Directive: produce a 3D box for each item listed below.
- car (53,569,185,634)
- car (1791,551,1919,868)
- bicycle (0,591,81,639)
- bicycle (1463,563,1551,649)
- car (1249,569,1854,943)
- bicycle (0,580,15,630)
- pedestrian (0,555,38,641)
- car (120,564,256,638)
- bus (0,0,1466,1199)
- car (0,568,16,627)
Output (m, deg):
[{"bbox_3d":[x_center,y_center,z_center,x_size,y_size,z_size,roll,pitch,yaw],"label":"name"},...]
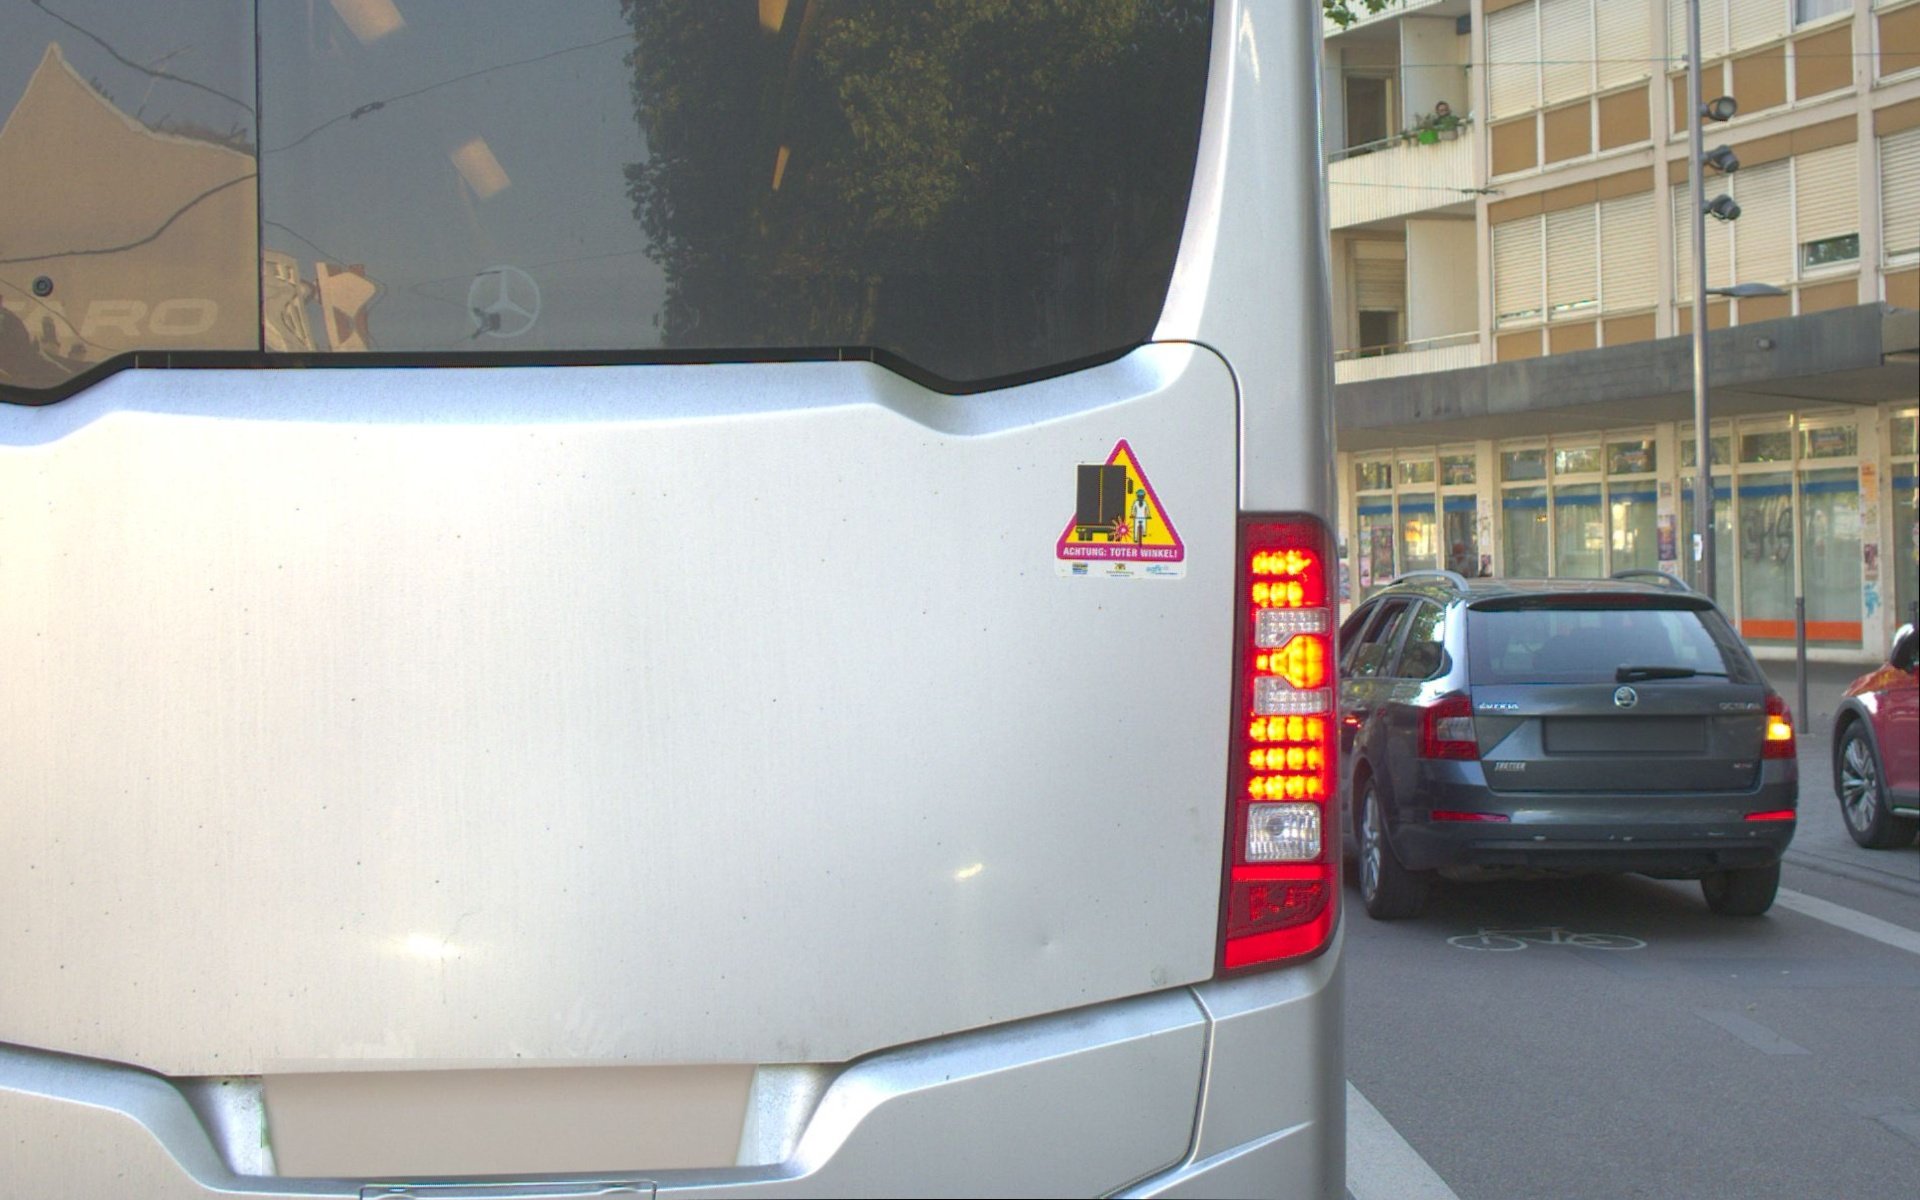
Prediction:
[{"bbox_3d":[-19.823,0.024,80.980,1.663,1.390,3.411,-6,4,-39],"label":"car"},{"bbox_3d":[5.501,0.503,15.984,1.778,1.491,4.568,-3,1,-5],"label":"car"},{"bbox_3d":[-18.760,0.306,69.681,1.842,0.939,0.463,-1,1,19],"label":"bicycle"},{"bbox_3d":[7.222,0.070,45.451,0.437,1.089,1.462,-4,2,-20],"label":"bicycle"},{"bbox_3d":[2.515,0.594,15.625,1.803,1.469,4.072,0,1,-4],"label":"car"},{"bbox_3d":[-23.722,0.117,84.940,0.507,1.207,2.093,-1,1,-21],"label":"bicycle"},{"bbox_3d":[-19.015,-0.040,69.261,0.720,1.719,0.399,-1,1,19],"label":"pedestrian"},{"bbox_3d":[-17.462,0.004,77.663,1.663,1.511,3.412,-5,4,-37],"label":"car"},{"bbox_3d":[-0.845,-0.151,9.894,2.657,3.088,10.217,-1,0,-2],"label":"bus"},{"bbox_3d":[-25.695,-0.036,88.038,1.663,1.463,3.411,-5,4,-38],"label":"car"}]
